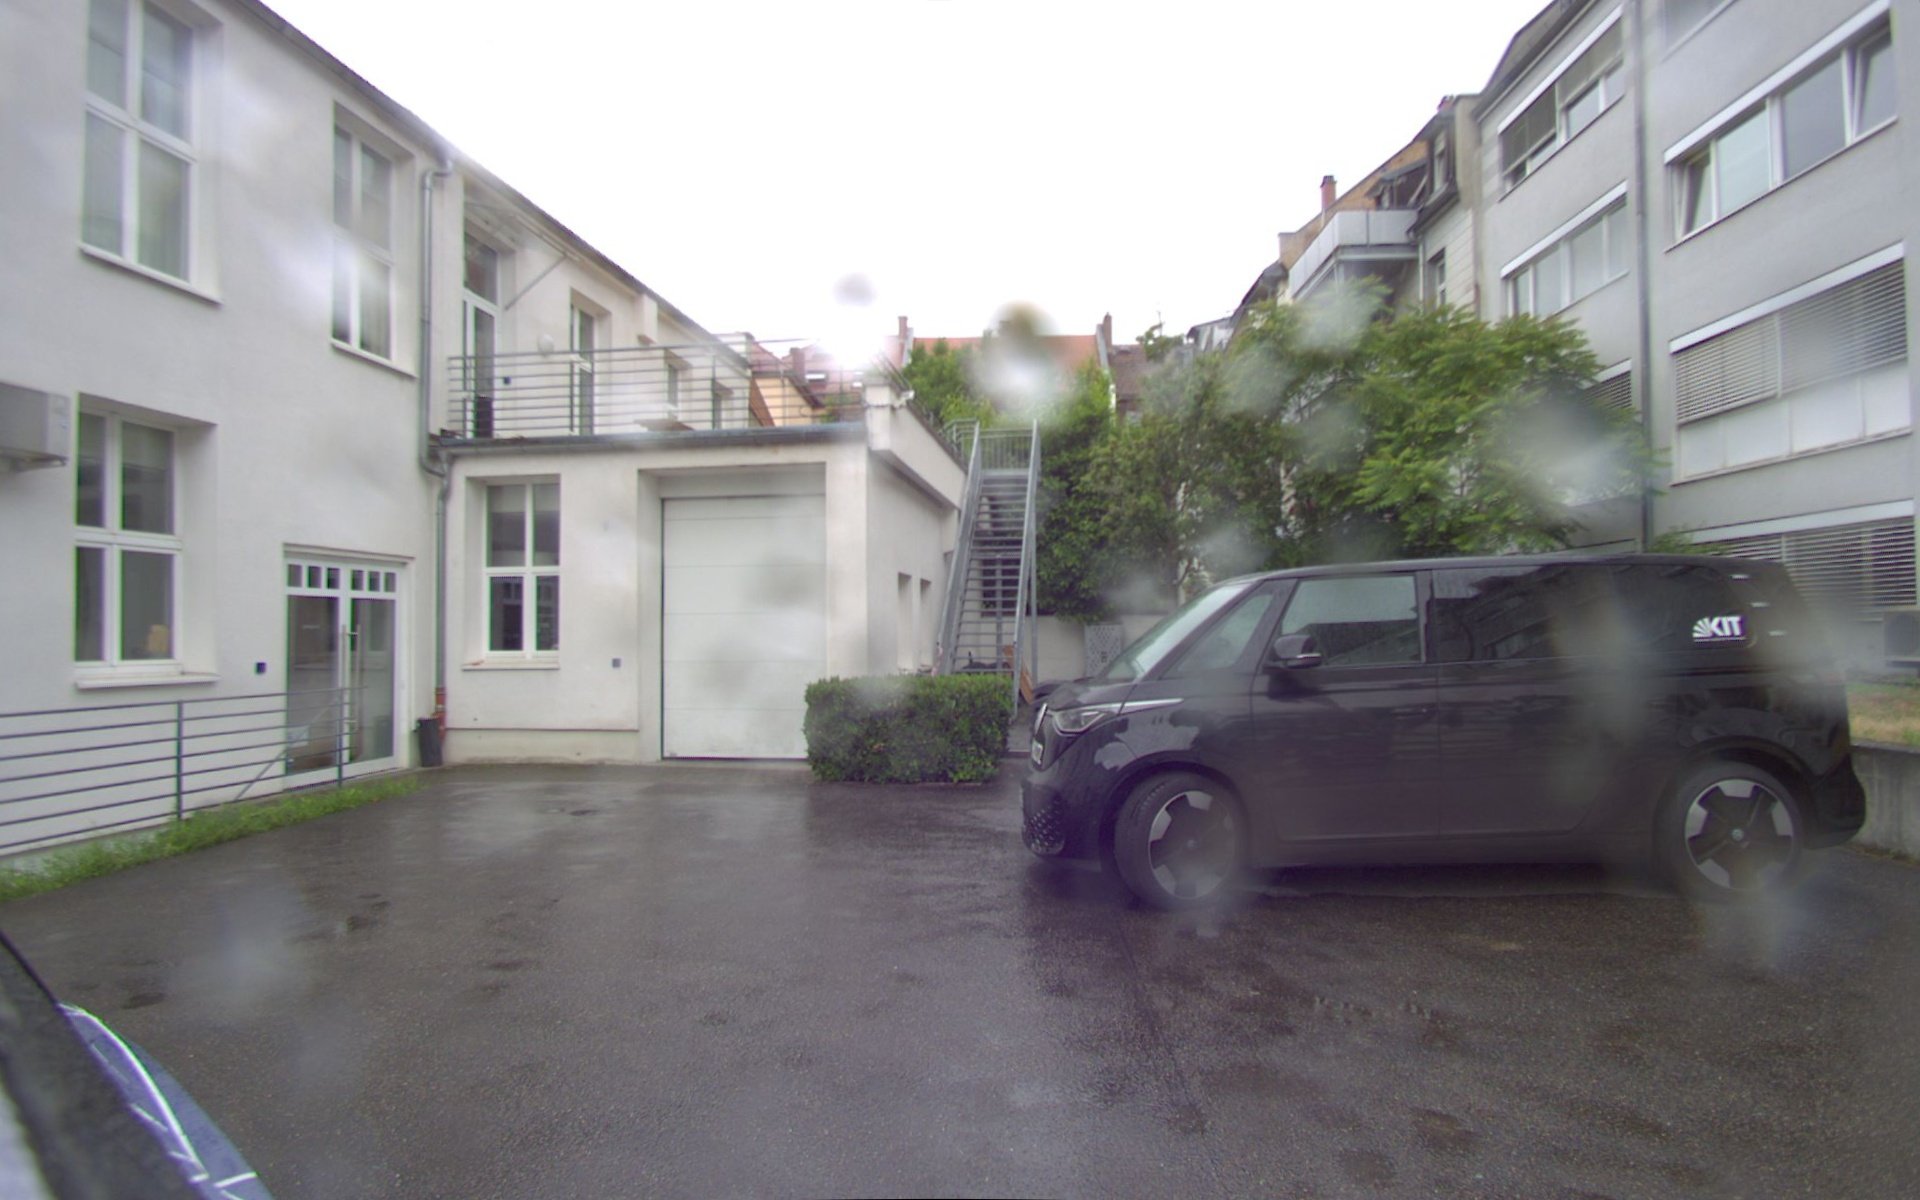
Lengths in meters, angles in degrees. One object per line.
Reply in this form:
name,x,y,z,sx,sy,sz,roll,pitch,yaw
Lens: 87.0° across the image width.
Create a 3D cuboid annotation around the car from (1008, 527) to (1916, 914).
car,2.592,0.668,6.226,4.459,1.912,2.046,-1,-3,1
